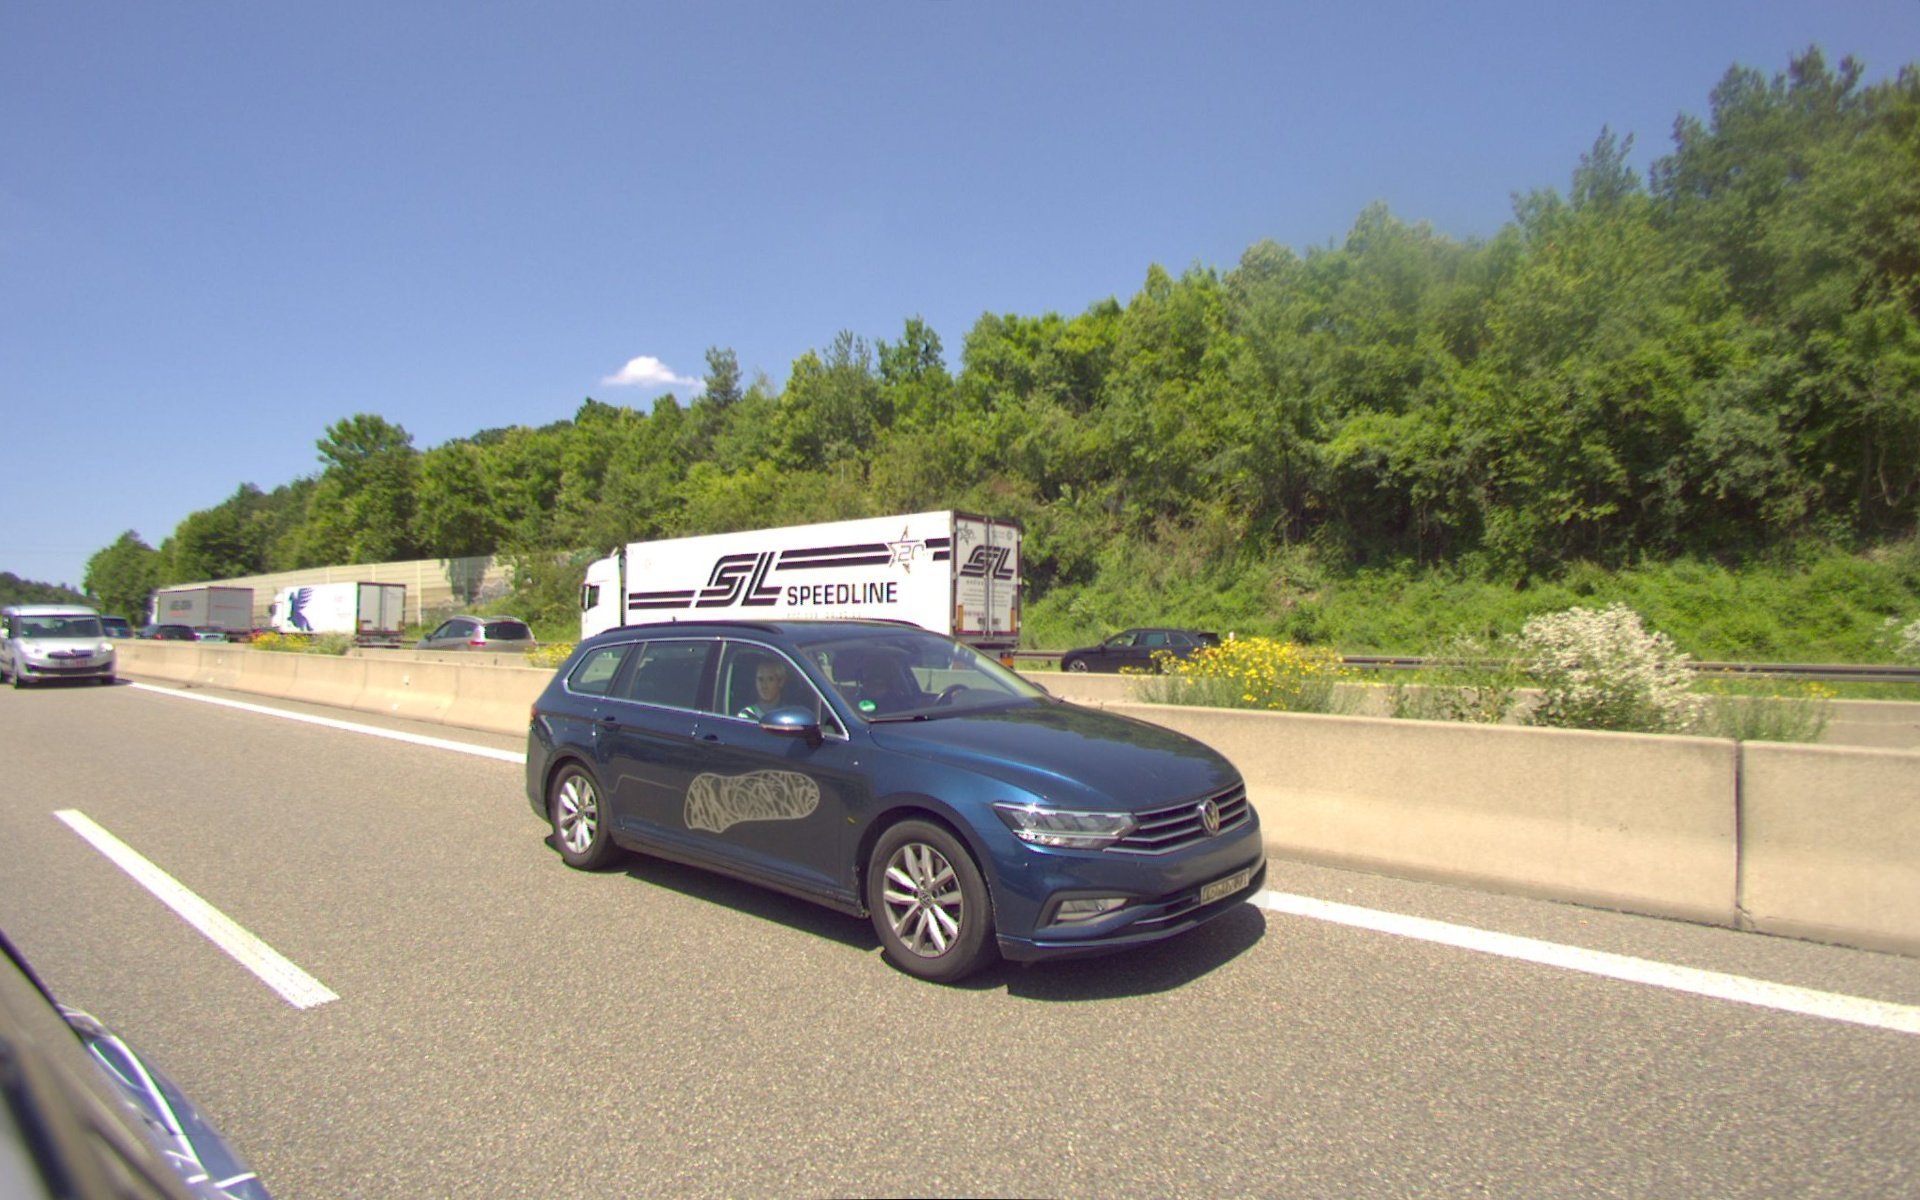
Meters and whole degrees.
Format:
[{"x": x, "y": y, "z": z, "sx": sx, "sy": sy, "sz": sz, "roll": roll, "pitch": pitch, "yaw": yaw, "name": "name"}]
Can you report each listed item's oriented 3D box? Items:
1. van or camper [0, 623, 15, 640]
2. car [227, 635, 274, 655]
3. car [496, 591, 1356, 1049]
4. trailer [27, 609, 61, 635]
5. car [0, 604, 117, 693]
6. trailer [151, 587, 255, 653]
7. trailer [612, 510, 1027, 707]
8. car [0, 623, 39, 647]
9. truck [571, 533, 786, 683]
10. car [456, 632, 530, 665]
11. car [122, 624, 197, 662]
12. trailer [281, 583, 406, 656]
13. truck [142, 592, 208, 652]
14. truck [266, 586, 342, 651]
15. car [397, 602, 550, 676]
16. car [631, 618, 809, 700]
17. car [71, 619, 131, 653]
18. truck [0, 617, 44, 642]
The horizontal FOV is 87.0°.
[{"x": -163.856, "y": 5.361, "z": 173.258, "sx": 6.802, "sy": 2.756, "sz": 2.246, "roll": 0, "pitch": -3, "yaw": 41, "name": "van or camper"}, {"x": -51.438, "y": 3.261, "z": 73.327, "sx": 4.499, "sy": 1.381, "sz": 1.744, "roll": -1, "pitch": -2, "yaw": 42, "name": "car"}, {"x": -0.571, "y": 0.757, "z": 5.423, "sx": 4.728, "sy": 1.438, "sz": 1.714, "roll": -1, "pitch": -3, "yaw": 42, "name": "car"}, {"x": -147.505, "y": 3.519, "z": 162.842, "sx": 13.827, "sy": 3.938, "sz": 2.782, "roll": -1, "pitch": -3, "yaw": 43, "name": "trailer"}, {"x": -20.854, "y": 1.057, "z": 23.213, "sx": 3.998, "sy": 1.858, "sz": 1.757, "roll": -1, "pitch": -2, "yaw": 42, "name": "car"}, {"x": -53.071, "y": 1.386, "z": 70.683, "sx": 14.733, "sy": 4.197, "sz": 2.805, "roll": -1, "pitch": -3, "yaw": 42, "name": "trailer"}, {"x": -4.605, "y": 0.254, "z": 28.098, "sx": 14.027, "sy": 4.371, "sz": 2.774, "roll": 0, "pitch": -2, "yaw": 41, "name": "trailer"}, {"x": -72.947, "y": 2.683, "z": 78.289, "sx": 3.997, "sy": 1.807, "sz": 1.973, "roll": -2, "pitch": -1, "yaw": 40, "name": "car"}, {"x": -9.016, "y": 0.274, "z": 31.875, "sx": 7.595, "sy": 4.196, "sz": 2.774, "roll": -1, "pitch": -2, "yaw": 41, "name": "truck"}, {"x": -22.494, "y": 2.315, "z": 48.683, "sx": 4.188, "sy": 1.478, "sz": 1.649, "roll": -1, "pitch": -2, "yaw": 41, "name": "car"}, {"x": -36.609, "y": 1.922, "z": 46.260, "sx": 4.535, "sy": 1.652, "sz": 1.886, "roll": -1, "pitch": -2, "yaw": 41, "name": "car"}, {"x": -38.075, "y": 1.182, "z": 62.177, "sx": 12.620, "sy": 4.078, "sz": 2.778, "roll": 0, "pitch": -2, "yaw": 41, "name": "trailer"}, {"x": -58.706, "y": 1.651, "z": 75.664, "sx": 5.657, "sy": 4.246, "sz": 2.811, "roll": -1, "pitch": -2, "yaw": 41, "name": "truck"}, {"x": -43.240, "y": 1.237, "z": 66.678, "sx": 5.082, "sy": 4.078, "sz": 2.778, "roll": -1, "pitch": -2, "yaw": 41, "name": "truck"}, {"x": -12.911, "y": 0.992, "z": 26.738, "sx": 4.785, "sy": 1.769, "sz": 1.864, "roll": 0, "pitch": -3, "yaw": 41, "name": "car"}, {"x": -5.922, "y": 1.372, "z": 24.645, "sx": 4.729, "sy": 1.790, "sz": 1.766, "roll": 0, "pitch": -3, "yaw": 41, "name": "car"}, {"x": -50.001, "y": 2.065, "z": 58.909, "sx": 5.034, "sy": 1.861, "sz": 1.892, "roll": -1, "pitch": -3, "yaw": 41, "name": "car"}, {"x": -108.010, "y": 3.328, "z": 116.459, "sx": 11.624, "sy": 2.709, "sz": 2.501, "roll": -1, "pitch": -3, "yaw": 42, "name": "truck"}]
